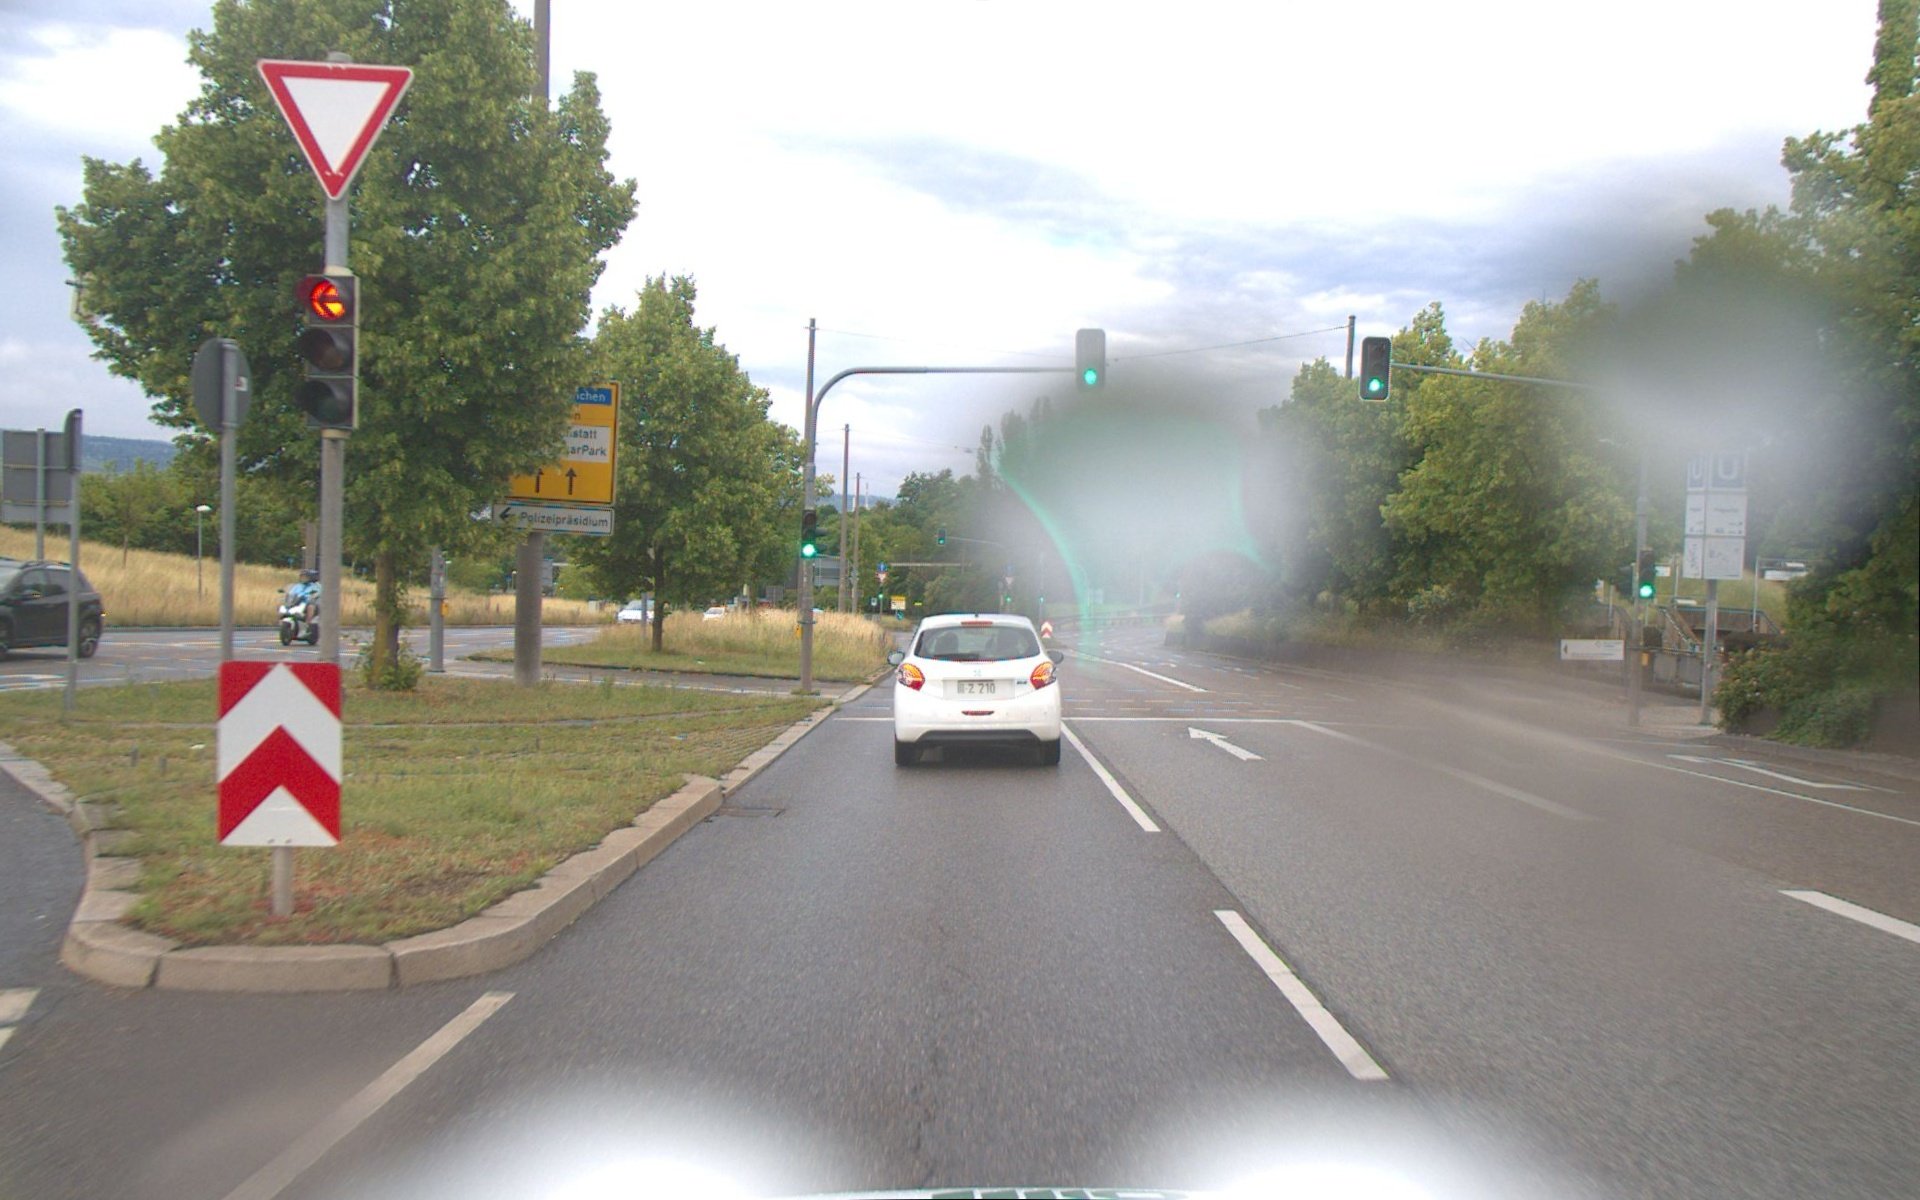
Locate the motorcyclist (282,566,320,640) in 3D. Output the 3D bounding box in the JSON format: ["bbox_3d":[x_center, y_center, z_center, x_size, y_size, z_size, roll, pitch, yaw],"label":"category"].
[{"bbox_3d":[-14.830,0.067,37.242,0.570,1.624,0.643,2,1,-1],"label":"motorcyclist"}]

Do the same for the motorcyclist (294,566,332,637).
[{"bbox_3d":[-14.866,0.033,38.021,0.600,1.609,0.582,2,1,-1],"label":"motorcyclist"}]

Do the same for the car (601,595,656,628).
[{"bbox_3d":[-14.877,0.537,74.358,1.506,1.413,3.928,2,-1,3],"label":"car"}]

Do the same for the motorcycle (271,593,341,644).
[{"bbox_3d":[-14.866,0.403,37.675,0.604,1.068,2.502,2,1,-1],"label":"motorcycle"}]

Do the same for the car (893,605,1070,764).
[{"bbox_3d":[0.200,0.805,17.493,1.673,1.465,3.690,0,0,0],"label":"car"}]

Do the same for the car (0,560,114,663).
[{"bbox_3d":[-15.067,0.164,26.075,1.506,1.530,3.662,2,-1,0],"label":"car"}]

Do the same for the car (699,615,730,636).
[{"bbox_3d":[-20.241,2.160,136.614,1.847,1.639,4.675,2,-1,-1],"label":"car"}]
